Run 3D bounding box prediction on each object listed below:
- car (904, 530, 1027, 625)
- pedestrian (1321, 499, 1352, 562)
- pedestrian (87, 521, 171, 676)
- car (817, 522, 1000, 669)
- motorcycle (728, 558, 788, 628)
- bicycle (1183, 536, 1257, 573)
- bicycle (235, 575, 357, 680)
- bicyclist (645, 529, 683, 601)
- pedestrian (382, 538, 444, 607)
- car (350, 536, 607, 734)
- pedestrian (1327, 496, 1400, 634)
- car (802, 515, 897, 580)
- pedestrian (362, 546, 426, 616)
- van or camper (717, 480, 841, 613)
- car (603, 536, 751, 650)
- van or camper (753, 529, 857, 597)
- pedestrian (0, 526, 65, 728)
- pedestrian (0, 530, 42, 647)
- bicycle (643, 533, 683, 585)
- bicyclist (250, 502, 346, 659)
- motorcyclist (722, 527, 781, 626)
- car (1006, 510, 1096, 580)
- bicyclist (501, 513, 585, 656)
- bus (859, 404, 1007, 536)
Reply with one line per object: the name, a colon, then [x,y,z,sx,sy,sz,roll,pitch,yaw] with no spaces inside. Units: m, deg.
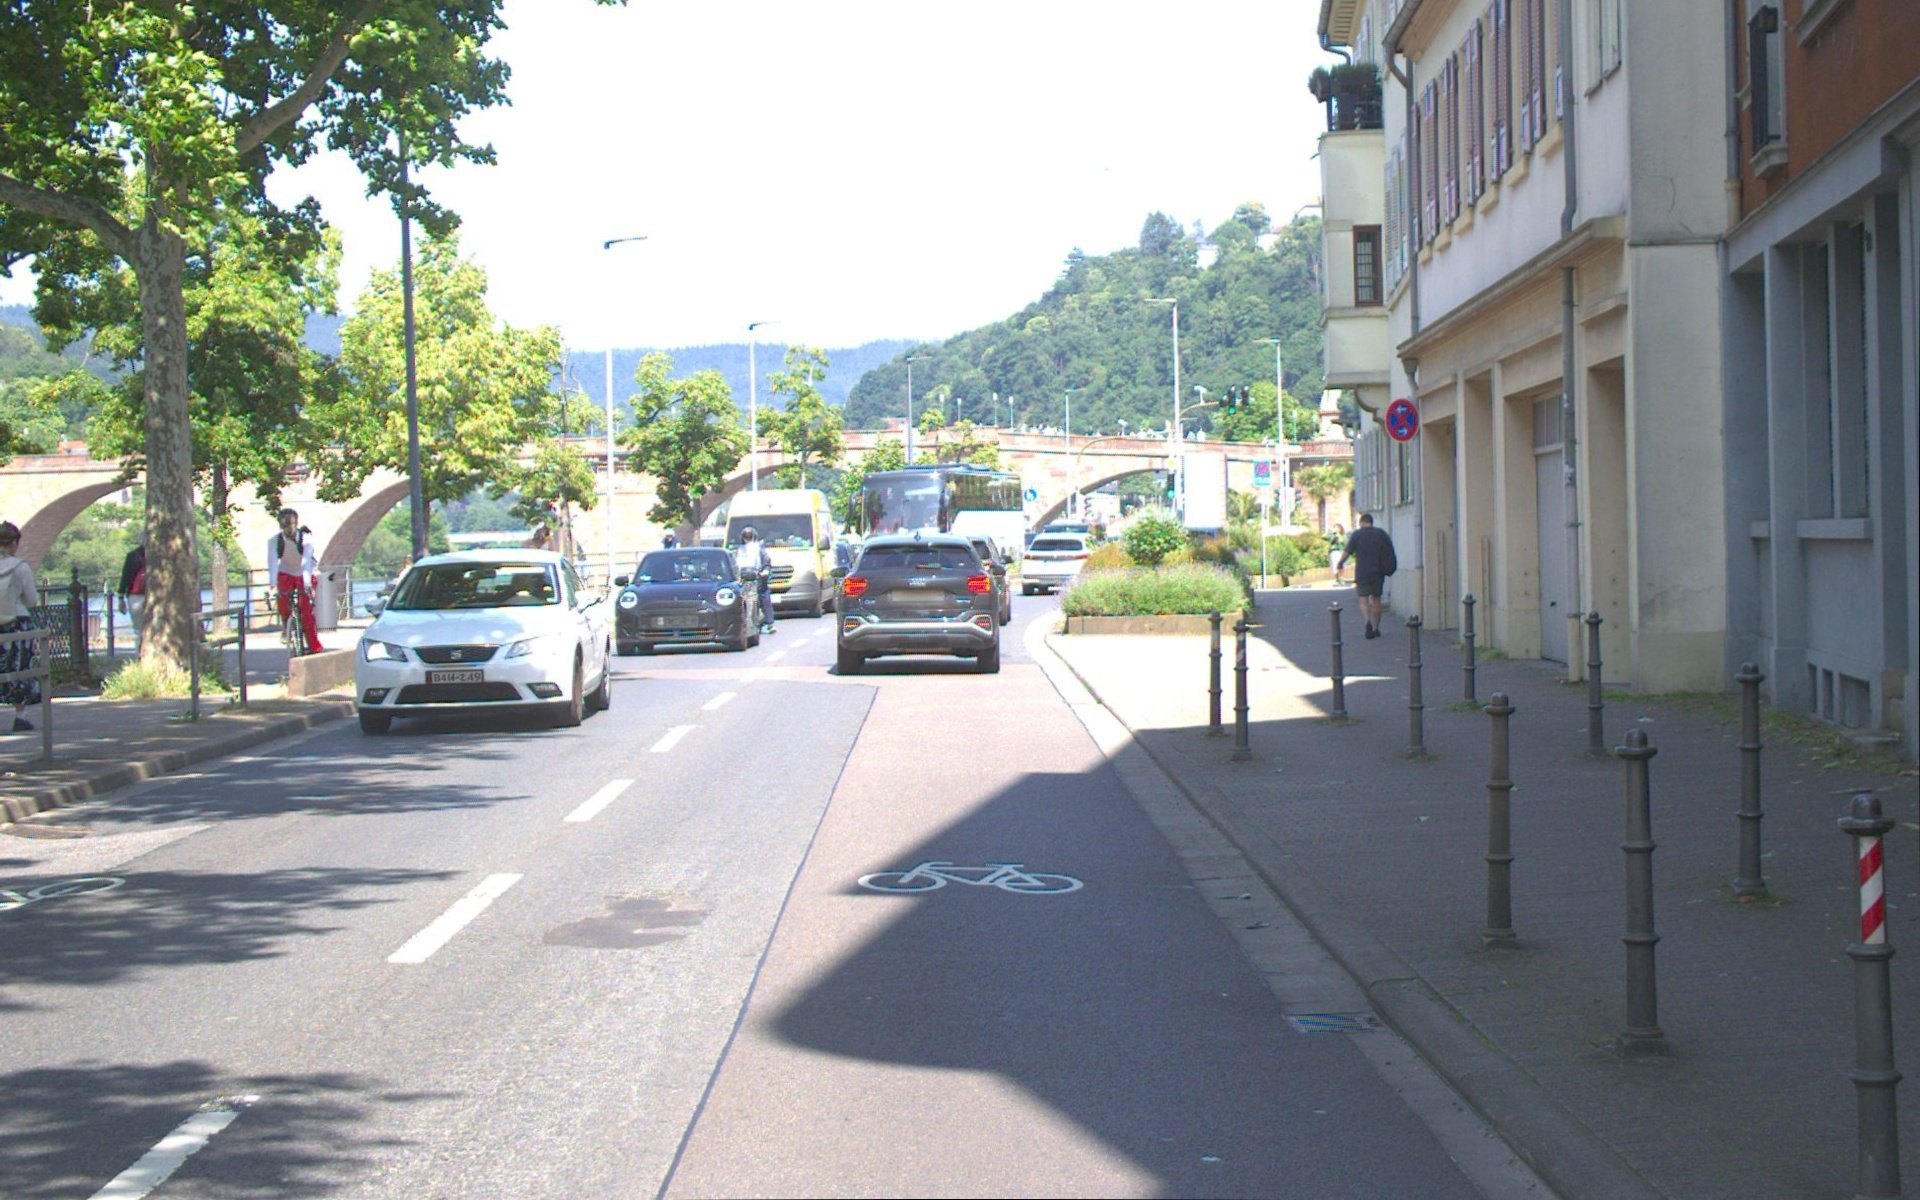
car: [0.136,-0.415,57.943,1.926,1.456,4.832,-1,1,1]
pedestrian: [9.685,-1.787,88.429,0.762,1.589,0.696,-1,1,7]
pedestrian: [-9.105,-0.022,37.684,0.656,1.676,0.758,1,1,5]
car: [-0.544,-0.069,38.734,1.926,1.548,4.832,0,1,0]
motorcycle: [-3.294,-0.122,55.788,0.883,1.073,2.328,-2,1,-4]
bicycle: [6.430,-1.130,85.010,1.810,0.875,0.502,0,2,3]
bicycle: [-6.806,0.271,35.325,0.754,0.976,1.953,-1,2,3]
bicyclist: [-7.011,-0.841,81.445,0.740,1.662,1.089,-1,2,1]
pedestrian: [-10.462,-0.532,65.744,0.937,1.276,0.849,-1,1,8]
car: [-3.961,0.233,28.839,1.701,1.440,4.092,0,2,-2]
pedestrian: [5.189,-0.454,44.230,0.762,1.707,0.696,-4,1,3]
car: [-2.703,-1.311,85.092,1.814,1.423,4.310,-3,2,5]
pedestrian: [-10.678,-0.358,64.856,0.937,1.276,0.849,-1,1,8]
van or camper: [-3.632,-1.097,70.199,2.087,2.548,7.092,-1,1,0]
car: [-3.868,-0.128,47.520,1.701,1.453,4.002,-2,1,0]
van or camper: [-3.490,-0.868,78.130,1.993,1.449,4.682,-1,1,2]
pedestrian: [-7.617,0.209,27.396,0.761,1.581,0.696,-1,1,-1]
pedestrian: [-13.334,-0.161,48.109,0.694,1.610,0.663,-1,1,7]
bicycle: [-7.016,-0.976,81.341,0.711,1.164,1.896,-1,2,2]
bicyclist: [-6.811,-0.207,35.399,0.719,1.578,1.089,-1,1,1]
motorcyclist: [-3.379,-0.386,55.829,0.878,1.578,1.025,-1,1,-2]
car: [2.237,-1.353,83.291,1.927,1.548,4.831,-2,1,4]
bicyclist: [-4.593,-0.179,37.898,0.766,1.526,1.025,0,3,1]
bus: [-0.684,-3.780,103.234,2.632,3.552,12.979,-1,1,7]
